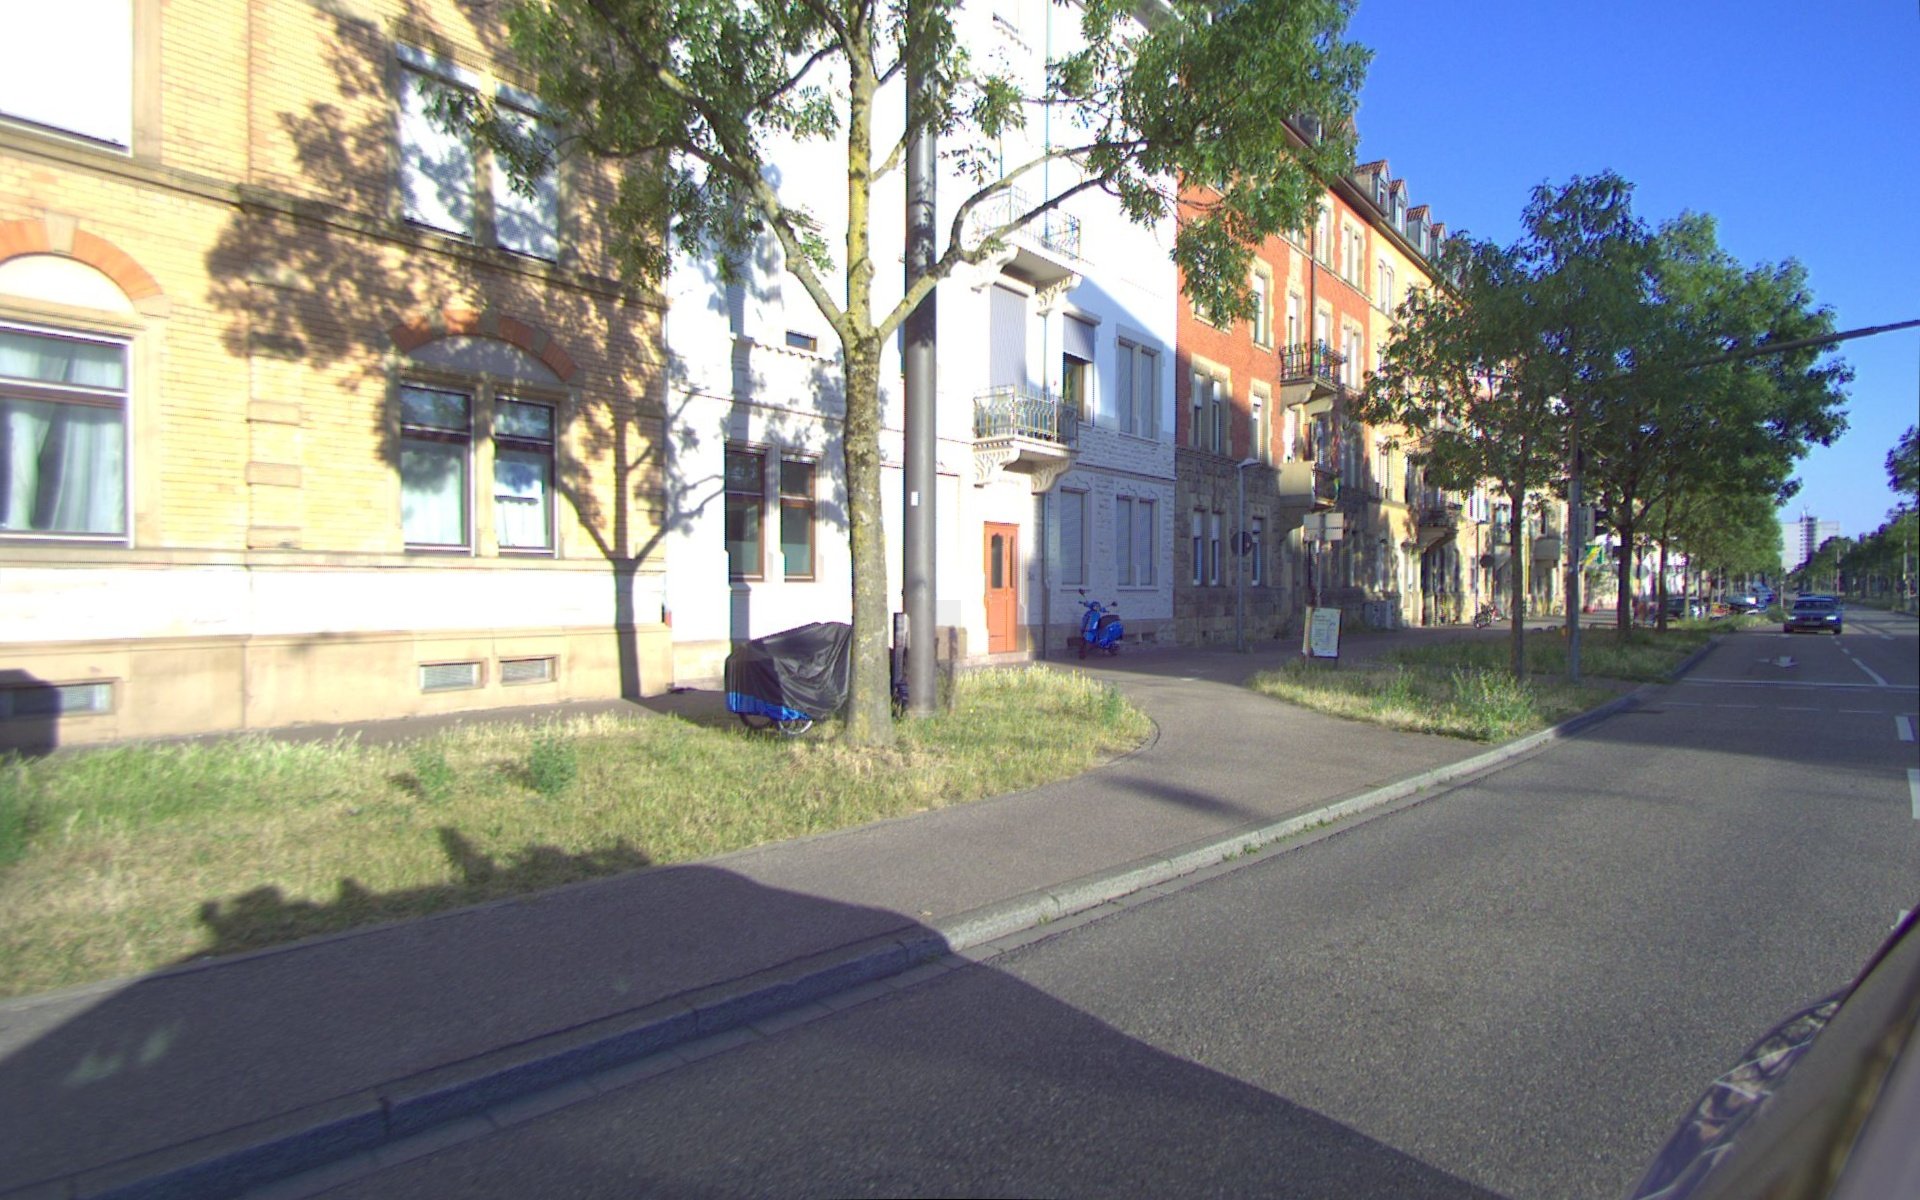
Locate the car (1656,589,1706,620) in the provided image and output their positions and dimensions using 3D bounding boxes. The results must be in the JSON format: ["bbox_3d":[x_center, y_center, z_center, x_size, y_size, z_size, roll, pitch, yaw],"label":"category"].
[{"bbox_3d":[36.956,0.217,51.840,1.701,1.467,4.226,-3,-2,40],"label":"car"}]

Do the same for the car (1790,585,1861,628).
[{"bbox_3d":[36.247,0.233,42.348,1.994,1.686,3.936,1,1,44],"label":"car"}]

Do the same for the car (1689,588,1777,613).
[{"bbox_3d":[51.872,0.070,68.036,1.959,1.591,4.349,0,-1,-17],"label":"car"}]

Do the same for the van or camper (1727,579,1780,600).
[{"bbox_3d":[111.248,-1.512,141.984,2.158,2.847,5.663,0,1,-18],"label":"van or camper"}]

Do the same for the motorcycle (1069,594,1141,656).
[{"bbox_3d":[3.103,0.503,21.455,0.552,1.229,2.044,-1,0,38],"label":"motorcycle"}]

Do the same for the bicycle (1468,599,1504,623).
[{"bbox_3d":[22.318,0.457,42.889,0.871,0.927,2.053,2,2,41],"label":"bicycle"}]

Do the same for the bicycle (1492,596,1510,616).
[{"bbox_3d":[27.965,0.314,52.300,0.482,1.018,1.721,0,0,40],"label":"bicycle"}]

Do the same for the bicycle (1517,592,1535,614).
[{"bbox_3d":[32.069,0.171,57.375,0.483,1.179,1.721,7,5,40],"label":"bicycle"}]

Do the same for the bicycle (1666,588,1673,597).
[{"bbox_3d":[89.688,-0.899,127.915,0.587,1.092,2.196,2,2,39],"label":"bicycle"}]

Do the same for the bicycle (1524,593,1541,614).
[{"bbox_3d":[33.266,0.198,58.819,0.483,1.179,1.721,7,5,40],"label":"bicycle"}]

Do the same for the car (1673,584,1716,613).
[{"bbox_3d":[42.877,-0.092,59.049,1.722,1.531,4.211,-3,-2,39],"label":"car"}]

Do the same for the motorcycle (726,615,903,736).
[{"bbox_3d":[-1.409,0.700,10.036,1.715,1.057,0.605,-1,1,-44],"label":"motorcycle"}]

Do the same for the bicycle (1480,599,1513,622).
[{"bbox_3d":[23.819,0.438,44.922,0.733,0.960,2.303,2,2,43],"label":"bicycle"}]

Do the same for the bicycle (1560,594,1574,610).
[{"bbox_3d":[41.033,0.131,68.412,0.571,1.087,1.869,1,1,39],"label":"bicycle"}]

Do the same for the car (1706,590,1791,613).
[{"bbox_3d":[53.959,0.082,69.369,1.808,1.541,4.296,0,0,-17],"label":"car"}]

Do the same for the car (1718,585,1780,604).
[{"bbox_3d":[75.220,-0.530,96.533,1.876,1.713,4.442,0,0,-15],"label":"car"}]
